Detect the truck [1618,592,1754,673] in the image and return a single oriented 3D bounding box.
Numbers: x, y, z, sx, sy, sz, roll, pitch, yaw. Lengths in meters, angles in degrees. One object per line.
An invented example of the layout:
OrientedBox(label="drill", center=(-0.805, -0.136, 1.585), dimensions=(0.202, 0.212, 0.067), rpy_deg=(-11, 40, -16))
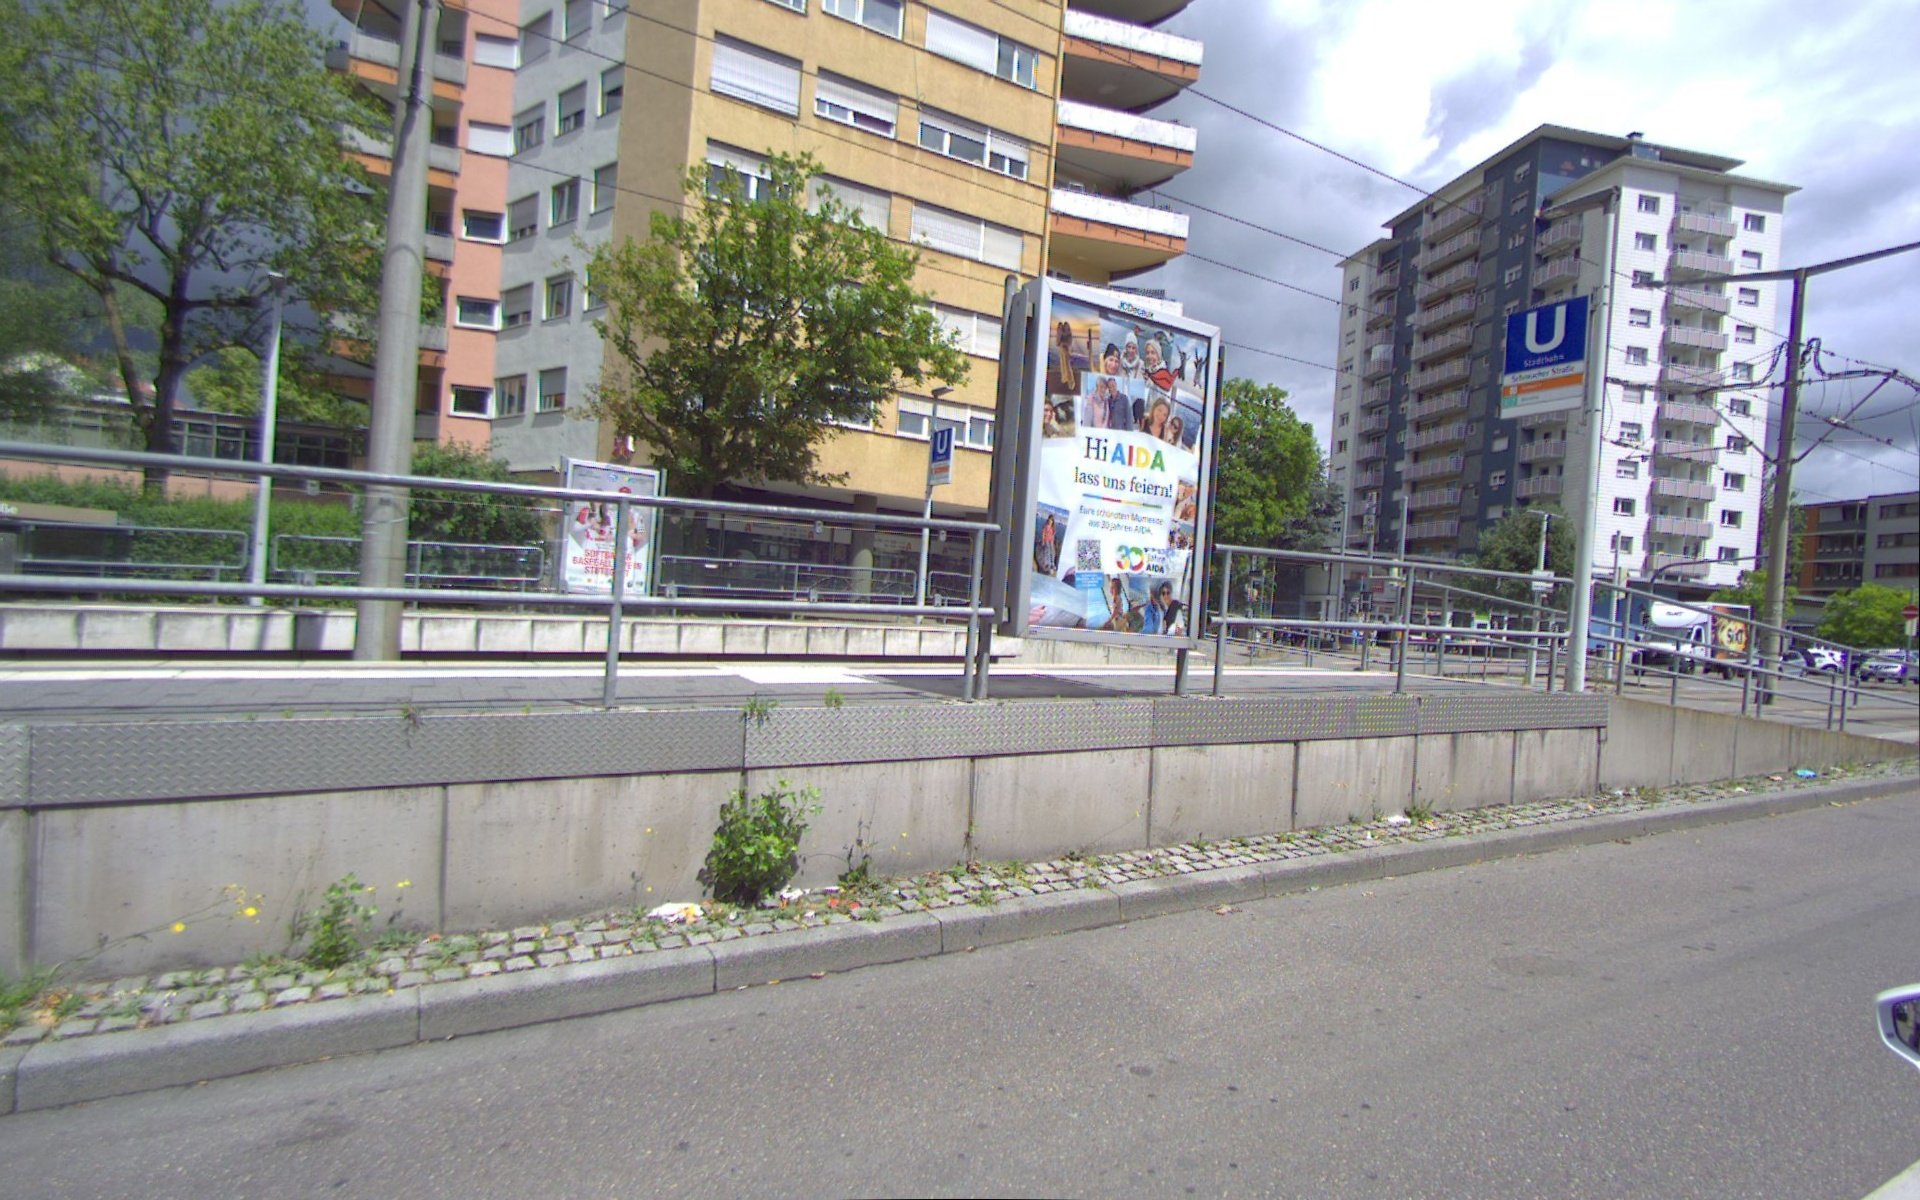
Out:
OrientedBox(label="truck", center=(30.821, 1.428, 42.542), dimensions=(7.243, 3.159, 2.267), rpy_deg=(3, 0, -34))

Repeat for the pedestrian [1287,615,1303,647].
OrientedBox(label="pedestrian", center=(18.425, 1.698, 55.304), dimensions=(0.708, 1.693, 0.365), rpy_deg=(3, 0, -27))

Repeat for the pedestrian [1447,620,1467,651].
OrientedBox(label="pedestrian", center=(33.411, 2.360, 67.499), dimensions=(0.831, 2.040, 0.861), rpy_deg=(2, 0, -2))

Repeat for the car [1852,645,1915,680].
OrientedBox(label="car", center=(51.825, 3.504, 56.343), dimensions=(3.732, 1.780, 1.583), rpy_deg=(3, 0, -31))

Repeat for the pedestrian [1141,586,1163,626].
OrientedBox(label="pedestrian", center=(8.654, 0.265, 45.366), dimensions=(0.655, 1.799, 0.653), rpy_deg=(2, 0, -30))

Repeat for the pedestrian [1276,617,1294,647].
OrientedBox(label="pedestrian", center=(16.663, 1.640, 51.556), dimensions=(0.658, 1.487, 0.554), rpy_deg=(2, 0, -37))

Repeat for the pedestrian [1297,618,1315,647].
OrientedBox(label="pedestrian", center=(18.381, 1.713, 53.408), dimensions=(0.657, 1.500, 0.555), rpy_deg=(2, 0, -33))

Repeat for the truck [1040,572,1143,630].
OrientedBox(label="truck", center=(5.663, 0.001, 43.742), dimensions=(2.323, 2.320, 4.260), rpy_deg=(3, 0, -29))

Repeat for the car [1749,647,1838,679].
OrientedBox(label="car", center=(51.710, 3.886, 62.377), dimensions=(3.845, 1.669, 1.657), rpy_deg=(2, 0, 15))

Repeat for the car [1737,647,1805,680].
OrientedBox(label="car", center=(39.165, 3.061, 48.504), dimensions=(3.733, 1.480, 1.399), rpy_deg=(3, 0, -32))

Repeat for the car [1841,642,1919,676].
OrientedBox(label="car", center=(61.815, 3.929, 67.260), dimensions=(3.846, 2.001, 1.657), rpy_deg=(2, 0, 18))
